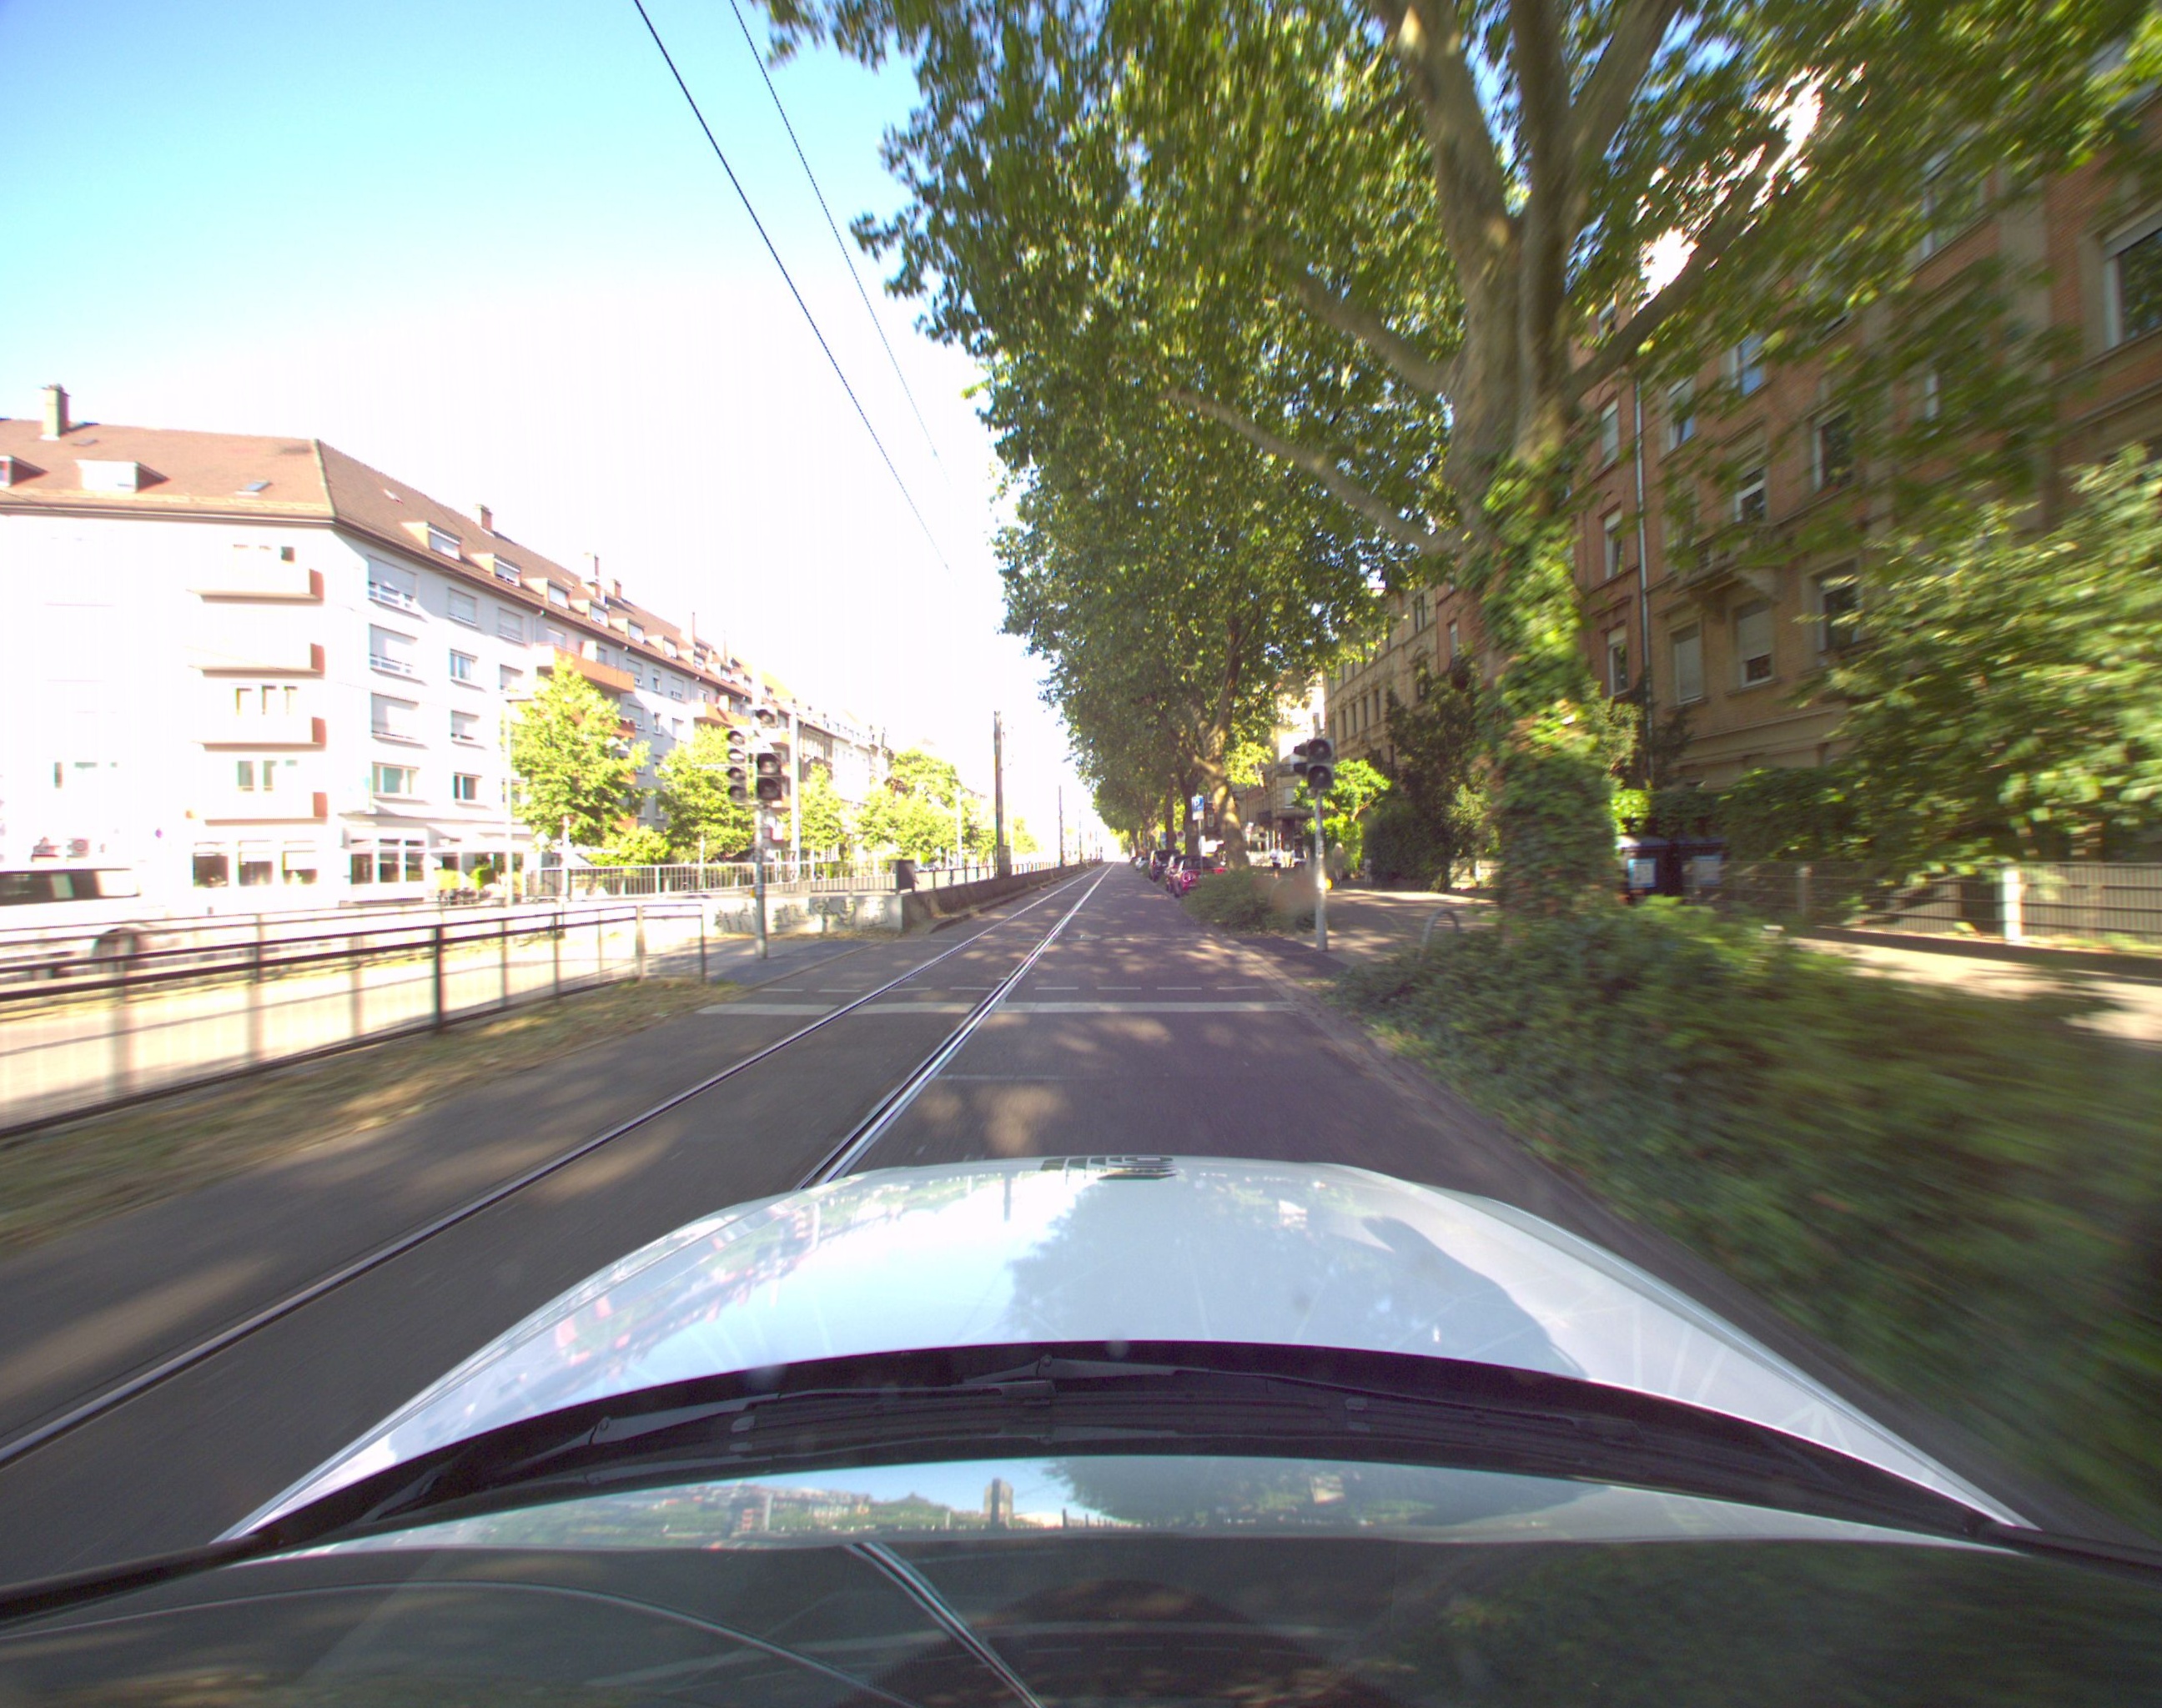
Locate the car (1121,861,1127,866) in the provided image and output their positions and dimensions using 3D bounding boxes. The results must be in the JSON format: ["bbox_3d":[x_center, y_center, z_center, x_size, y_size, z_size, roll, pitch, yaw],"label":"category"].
[{"bbox_3d":[13.252,3.005,250.586,1.738,1.462,3.645,2,-1,2],"label":"car"}]

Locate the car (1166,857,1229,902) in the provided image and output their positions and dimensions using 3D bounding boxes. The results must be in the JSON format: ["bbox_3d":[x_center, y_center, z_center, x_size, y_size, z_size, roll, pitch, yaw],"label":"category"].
[{"bbox_3d":[4.010,0.911,28.526,1.708,1.462,4.000,0,-2,1],"label":"car"}]

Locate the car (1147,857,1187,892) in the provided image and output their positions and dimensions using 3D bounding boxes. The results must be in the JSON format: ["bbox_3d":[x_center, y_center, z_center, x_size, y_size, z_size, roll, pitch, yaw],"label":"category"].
[{"bbox_3d":[5.277,1.267,50.587,1.986,2.014,5.203,-2,-1,1],"label":"car"}]

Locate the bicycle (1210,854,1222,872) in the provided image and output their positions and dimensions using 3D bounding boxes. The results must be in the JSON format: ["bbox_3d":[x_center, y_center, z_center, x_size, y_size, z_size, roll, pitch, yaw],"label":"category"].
[{"bbox_3d":[9.256,0.599,55.836,0.558,1.178,2.022,0,-2,2],"label":"bicycle"}]

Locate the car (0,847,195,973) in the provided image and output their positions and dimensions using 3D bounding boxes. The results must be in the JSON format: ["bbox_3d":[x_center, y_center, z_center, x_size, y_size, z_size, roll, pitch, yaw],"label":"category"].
[{"bbox_3d":[-18.176,0.937,13.089,1.981,2.014,5.026,-3,-2,10],"label":"car"}]

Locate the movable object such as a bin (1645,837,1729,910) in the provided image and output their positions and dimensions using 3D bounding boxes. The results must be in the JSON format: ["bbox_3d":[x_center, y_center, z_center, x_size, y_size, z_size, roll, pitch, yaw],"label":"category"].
[{"bbox_3d":[12.781,0.410,17.224,0.903,1.464,1.084,-3,-2,1],"label":"movable object such as a bin"}]

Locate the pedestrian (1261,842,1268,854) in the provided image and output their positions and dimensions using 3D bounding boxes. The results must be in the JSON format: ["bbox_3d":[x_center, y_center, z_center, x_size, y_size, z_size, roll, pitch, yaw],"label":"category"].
[{"bbox_3d":[17.332,-0.548,77.105,0.554,1.138,0.526,-1,-2,2],"label":"pedestrian"}]

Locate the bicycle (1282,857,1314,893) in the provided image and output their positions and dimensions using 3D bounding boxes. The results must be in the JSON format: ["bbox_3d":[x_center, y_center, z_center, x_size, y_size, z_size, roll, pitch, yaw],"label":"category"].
[{"bbox_3d":[7.453,0.710,28.058,0.558,1.178,2.226,-1,0,1],"label":"bicycle"}]

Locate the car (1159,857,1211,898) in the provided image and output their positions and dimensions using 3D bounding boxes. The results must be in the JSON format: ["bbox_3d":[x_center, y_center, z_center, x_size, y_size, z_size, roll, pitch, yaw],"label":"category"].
[{"bbox_3d":[4.315,1.012,34.364,1.708,1.549,4.502,-2,-2,2],"label":"car"}]

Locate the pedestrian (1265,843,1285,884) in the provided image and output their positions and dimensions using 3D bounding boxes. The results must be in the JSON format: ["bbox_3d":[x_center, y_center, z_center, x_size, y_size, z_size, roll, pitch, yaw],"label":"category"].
[{"bbox_3d":[8.522,0.415,35.859,0.686,1.785,0.644,-1,-1,1],"label":"pedestrian"}]

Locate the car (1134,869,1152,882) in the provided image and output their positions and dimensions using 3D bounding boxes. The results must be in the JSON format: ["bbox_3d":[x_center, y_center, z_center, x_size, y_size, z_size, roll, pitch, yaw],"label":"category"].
[{"bbox_3d":[6.671,2.313,88.112,1.822,1.327,4.002,-1,-2,3],"label":"car"}]

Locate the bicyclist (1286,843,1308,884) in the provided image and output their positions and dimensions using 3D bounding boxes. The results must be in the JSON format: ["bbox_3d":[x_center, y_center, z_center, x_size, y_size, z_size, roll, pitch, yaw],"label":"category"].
[{"bbox_3d":[7.437,0.323,28.050,0.541,1.380,0.644,-1,-1,1],"label":"bicyclist"}]

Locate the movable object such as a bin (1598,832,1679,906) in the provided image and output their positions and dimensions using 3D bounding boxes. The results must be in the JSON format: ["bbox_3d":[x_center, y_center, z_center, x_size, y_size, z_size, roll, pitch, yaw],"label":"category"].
[{"bbox_3d":[11.745,0.317,17.193,0.903,1.464,1.084,-3,-2,1],"label":"movable object such as a bin"}]

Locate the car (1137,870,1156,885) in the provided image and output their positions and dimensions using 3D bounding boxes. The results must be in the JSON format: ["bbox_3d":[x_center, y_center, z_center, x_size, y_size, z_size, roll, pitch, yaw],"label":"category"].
[{"bbox_3d":[6.642,2.417,82.879,1.795,1.477,4.648,-1,-2,2],"label":"car"}]

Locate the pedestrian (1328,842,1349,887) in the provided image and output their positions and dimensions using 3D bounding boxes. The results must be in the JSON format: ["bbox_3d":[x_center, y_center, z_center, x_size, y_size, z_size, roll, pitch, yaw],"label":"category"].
[{"bbox_3d":[9.653,0.399,30.507,0.528,1.628,0.618,-3,-1,3],"label":"pedestrian"}]

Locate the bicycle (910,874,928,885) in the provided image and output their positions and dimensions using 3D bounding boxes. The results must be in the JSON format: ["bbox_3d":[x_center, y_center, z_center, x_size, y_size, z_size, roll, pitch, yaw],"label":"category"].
[{"bbox_3d":[-17.834,2.850,89.749,1.800,1.178,0.563,2,-2,5],"label":"bicycle"}]
